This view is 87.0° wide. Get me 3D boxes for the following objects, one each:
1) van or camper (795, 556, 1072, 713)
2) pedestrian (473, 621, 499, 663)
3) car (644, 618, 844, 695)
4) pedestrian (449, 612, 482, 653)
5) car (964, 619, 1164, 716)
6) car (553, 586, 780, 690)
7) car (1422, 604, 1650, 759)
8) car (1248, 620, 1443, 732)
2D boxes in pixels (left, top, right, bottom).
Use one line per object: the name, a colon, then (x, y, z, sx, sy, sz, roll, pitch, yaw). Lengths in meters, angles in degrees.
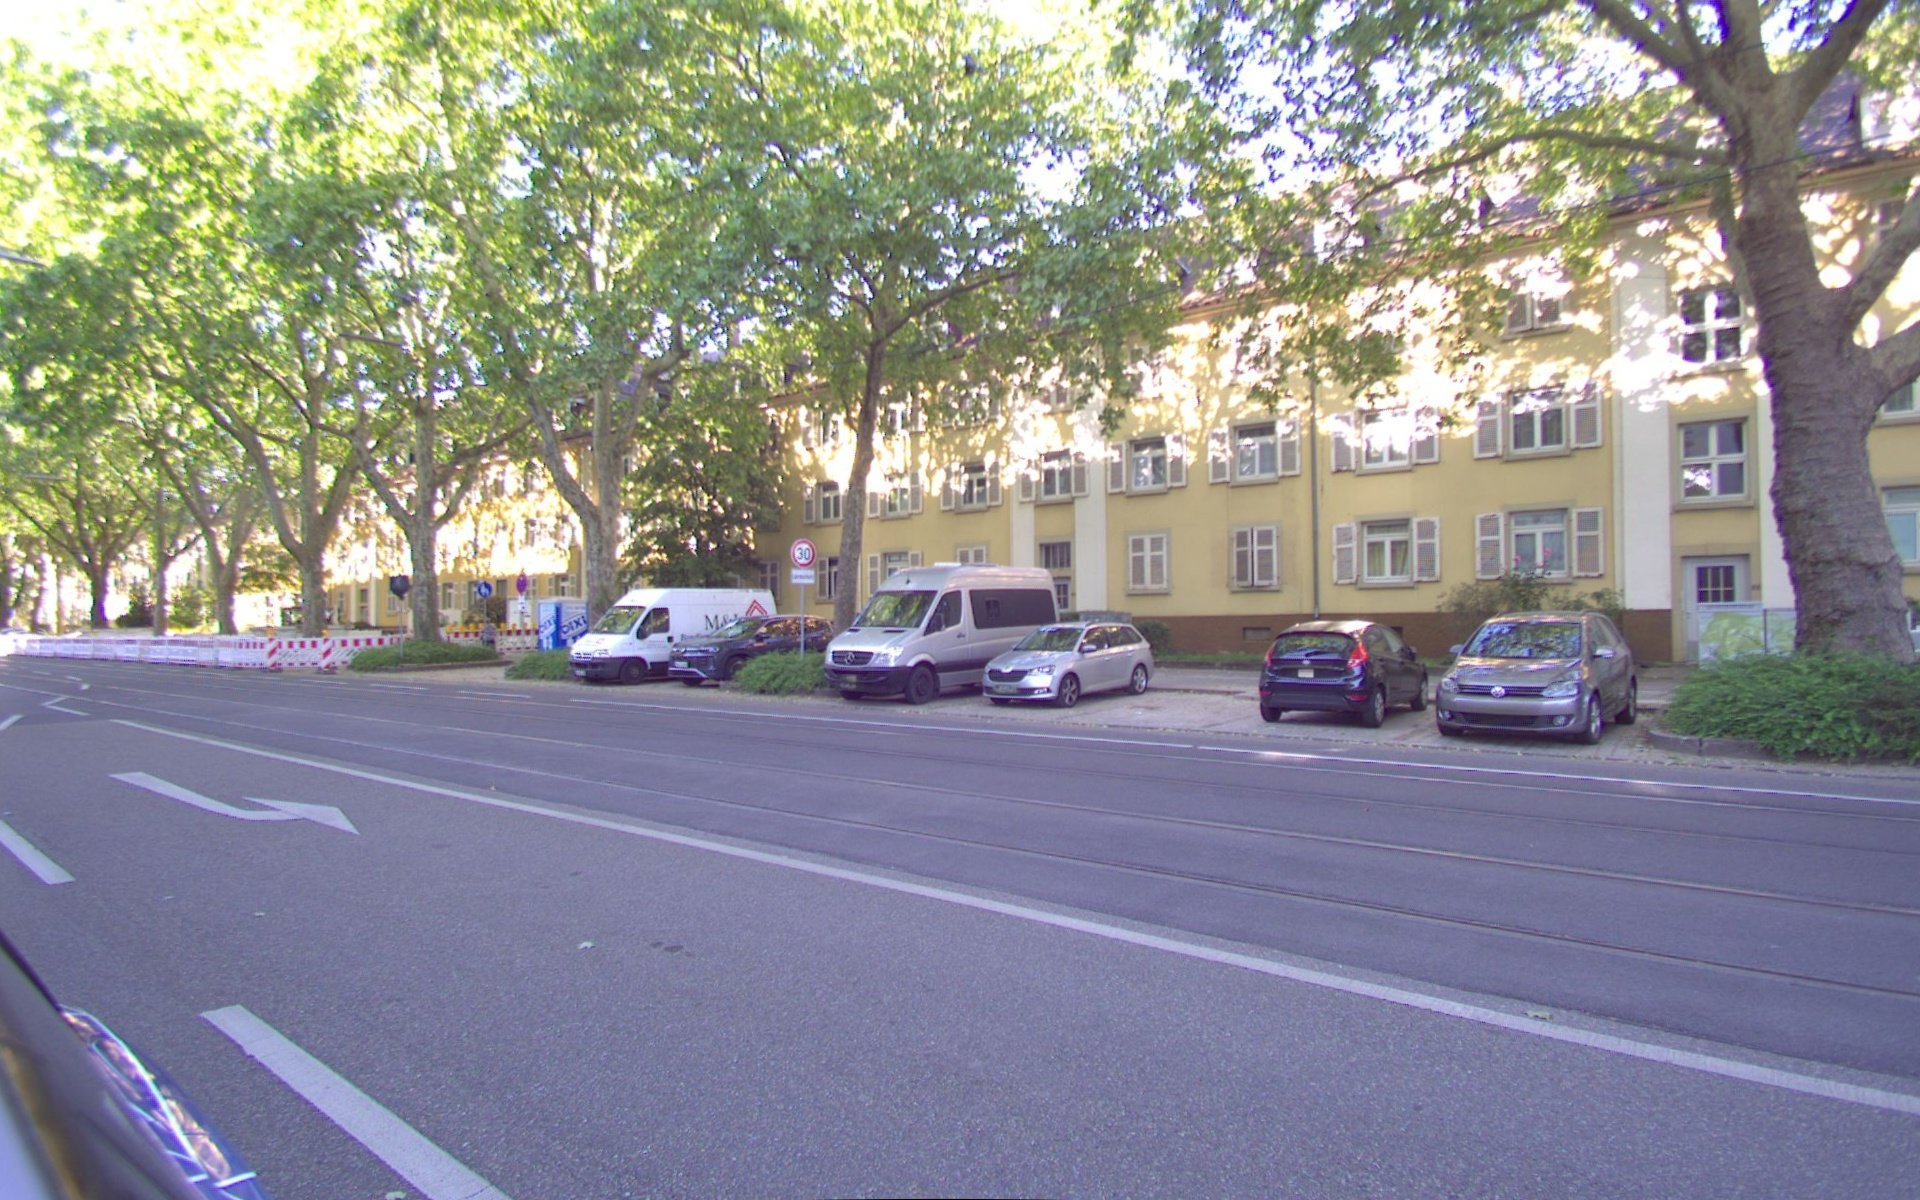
van or camper: (-0.311, 0.614, 20.487, 2.227, 2.697, 6.052, -2, -1, 38)
pedestrian: (-18.091, 1.598, 38.637, 0.713, 1.585, 0.591, -1, -2, 25)
car: (-5.086, 1.275, 24.364, 1.967, 1.643, 4.520, -2, -2, 38)
pedestrian: (-25.405, 1.668, 51.977, 1.233, 2.029, 1.085, -2, -2, 36)
car: (2.042, 1.159, 18.902, 1.729, 1.481, 4.102, 0, 1, 40)
car: (-7.440, 0.949, 26.283, 2.023, 2.394, 5.543, -2, -2, 38)
car: (7.742, 0.928, 13.411, 1.814, 1.617, 4.145, -2, 0, 41)
car: (5.911, 1.050, 15.325, 1.740, 1.440, 3.528, -2, -1, 39)
